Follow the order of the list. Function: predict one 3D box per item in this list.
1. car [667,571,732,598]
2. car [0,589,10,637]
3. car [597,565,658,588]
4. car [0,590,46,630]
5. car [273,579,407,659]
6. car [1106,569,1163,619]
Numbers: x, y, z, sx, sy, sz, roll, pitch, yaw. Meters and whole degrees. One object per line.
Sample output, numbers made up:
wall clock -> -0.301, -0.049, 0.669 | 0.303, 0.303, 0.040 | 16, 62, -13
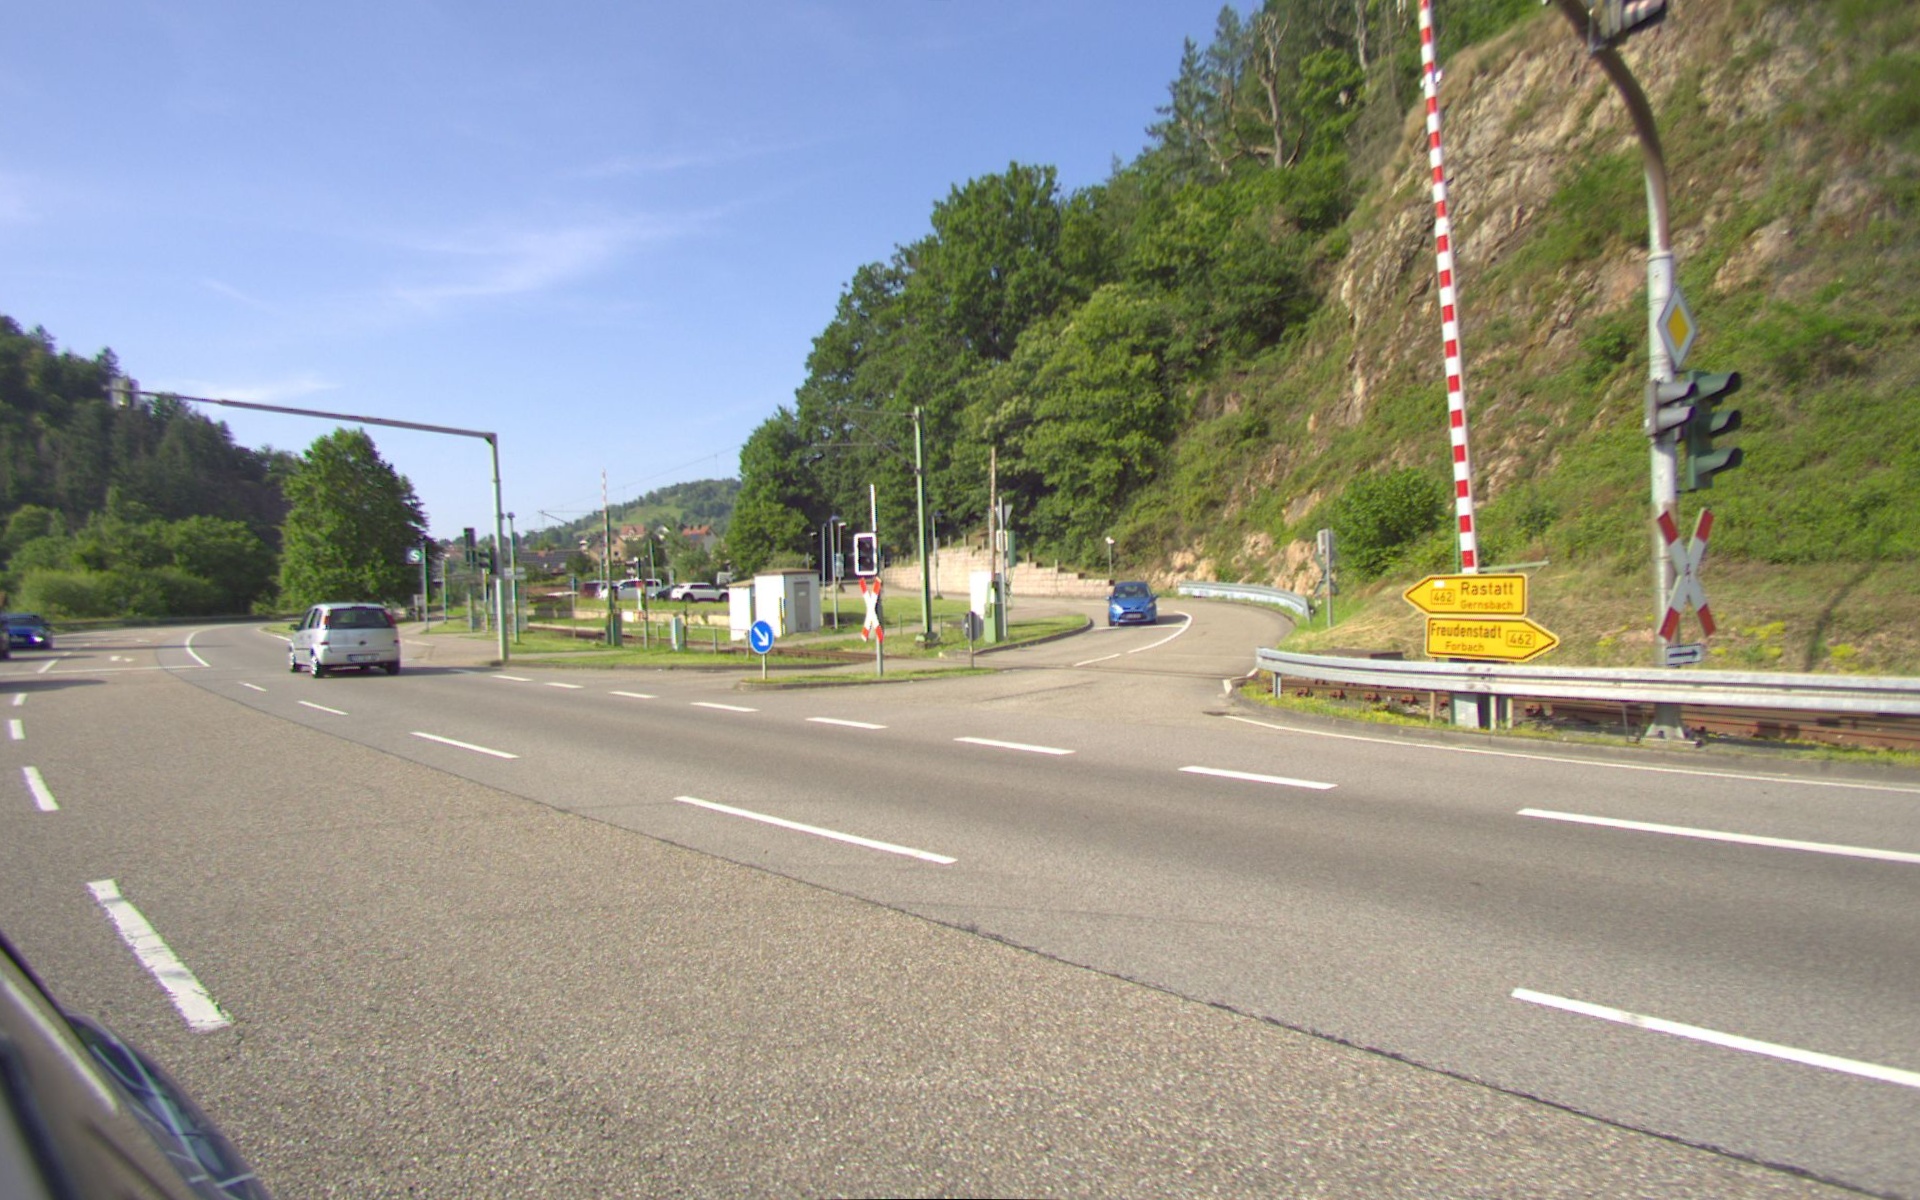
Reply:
car -> -17.540, -1.052, 68.226 | 3.932, 1.763, 1.645 | -1, 0, -31
car -> -30.192, 0.419, 30.616 | 1.969, 1.403, 4.005 | -1, 0, -41
car -> -27.185, -1.921, 82.790 | 4.377, 1.817, 2.006 | -1, 1, -31
car -> -37.316, 0.379, 39.863 | 1.840, 1.503, 4.006 | -1, 0, -41
car -> -14.287, 0.369, 23.229 | 4.173, 1.669, 1.673 | 0, 1, 45
car -> 6.248, -0.245, 36.261 | 1.874, 1.519, 3.989 | -2, 3, 10
